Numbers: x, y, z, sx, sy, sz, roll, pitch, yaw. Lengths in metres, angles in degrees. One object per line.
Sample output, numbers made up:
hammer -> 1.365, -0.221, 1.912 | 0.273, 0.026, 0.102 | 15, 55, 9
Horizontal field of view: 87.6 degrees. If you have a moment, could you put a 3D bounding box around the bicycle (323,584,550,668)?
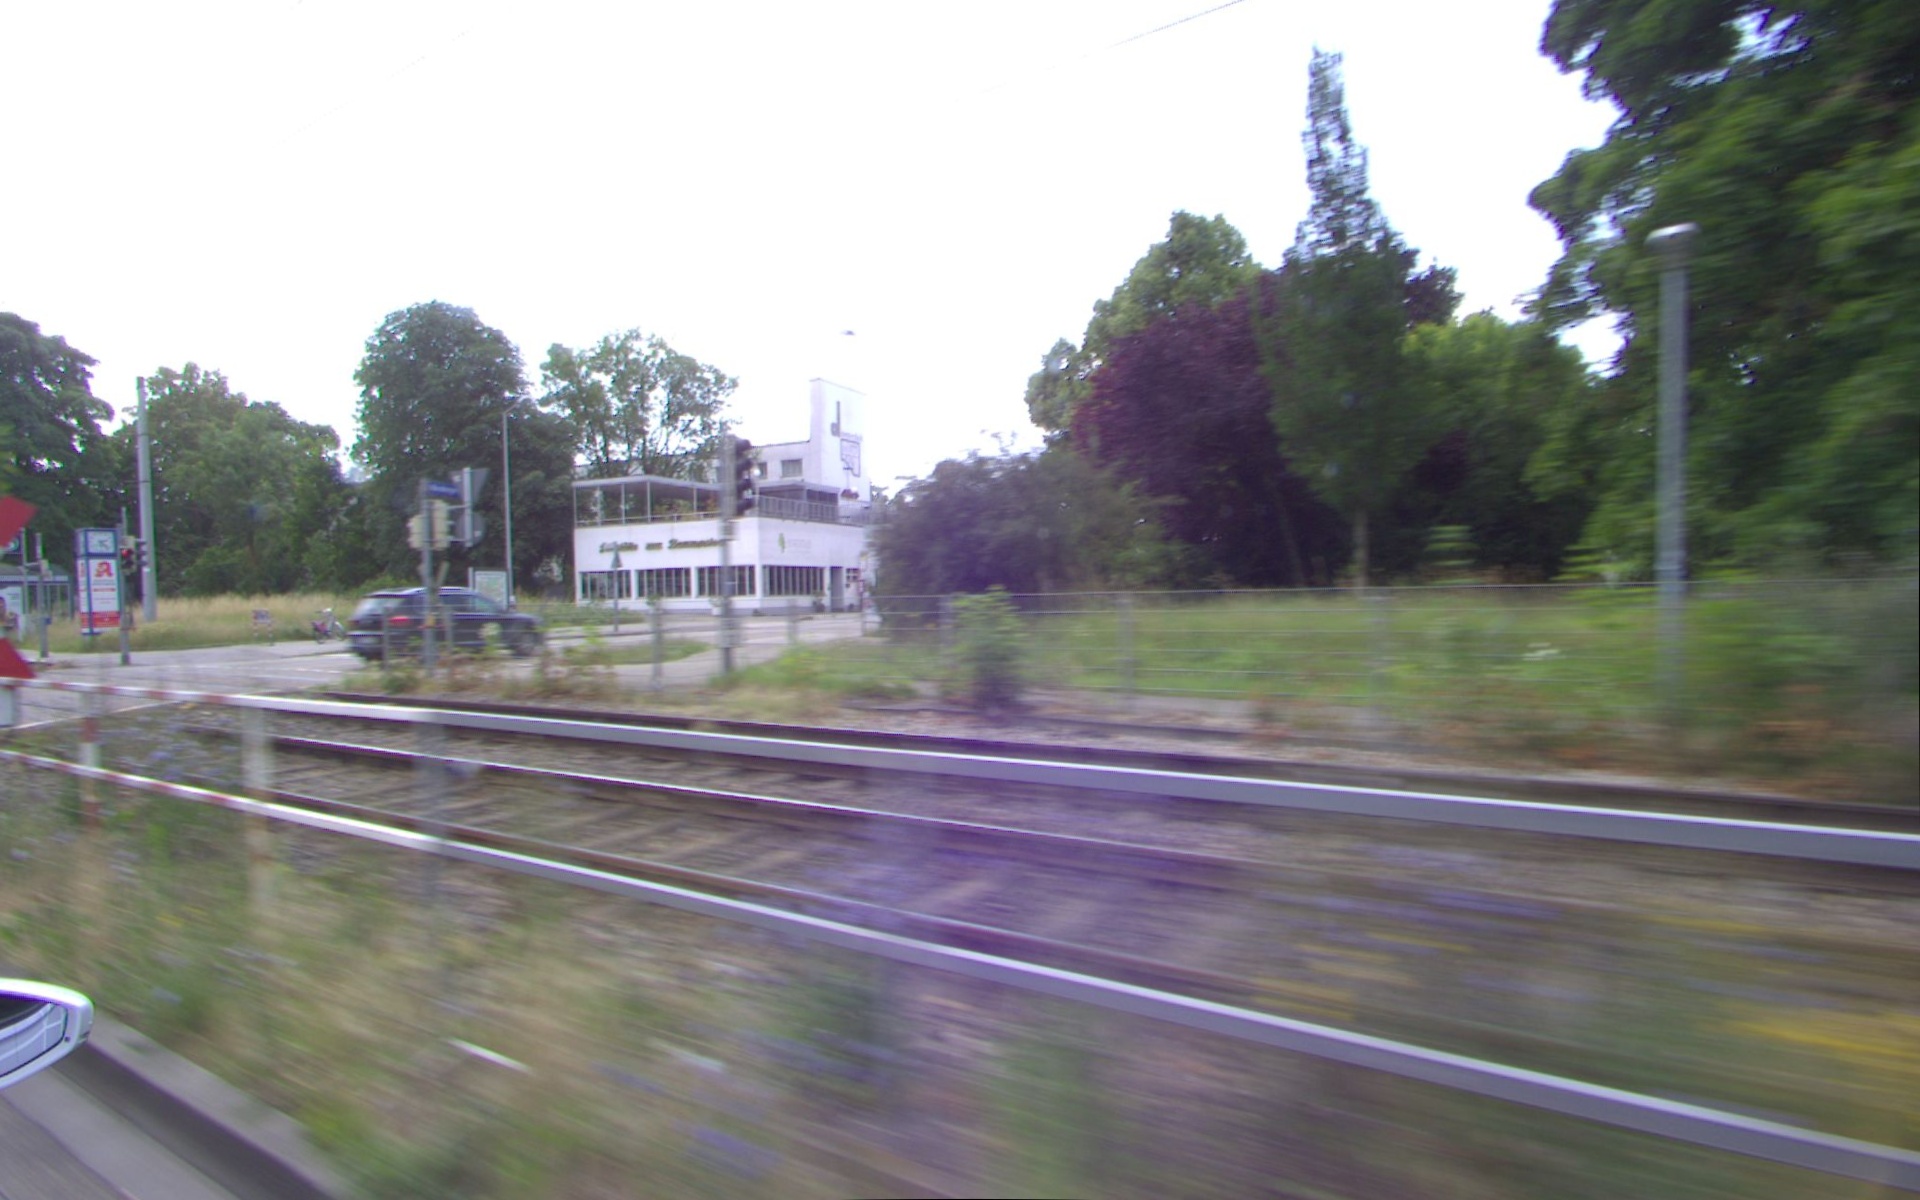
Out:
bicycle -> -11.519, 0.510, 22.377 | 1.966, 1.697, 4.196 | -1, 1, 23

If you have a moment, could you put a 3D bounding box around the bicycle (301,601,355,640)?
bicycle -> -20.497, 0.646, 32.500 | 0.688, 1.148, 1.659 | 0, 2, -1
